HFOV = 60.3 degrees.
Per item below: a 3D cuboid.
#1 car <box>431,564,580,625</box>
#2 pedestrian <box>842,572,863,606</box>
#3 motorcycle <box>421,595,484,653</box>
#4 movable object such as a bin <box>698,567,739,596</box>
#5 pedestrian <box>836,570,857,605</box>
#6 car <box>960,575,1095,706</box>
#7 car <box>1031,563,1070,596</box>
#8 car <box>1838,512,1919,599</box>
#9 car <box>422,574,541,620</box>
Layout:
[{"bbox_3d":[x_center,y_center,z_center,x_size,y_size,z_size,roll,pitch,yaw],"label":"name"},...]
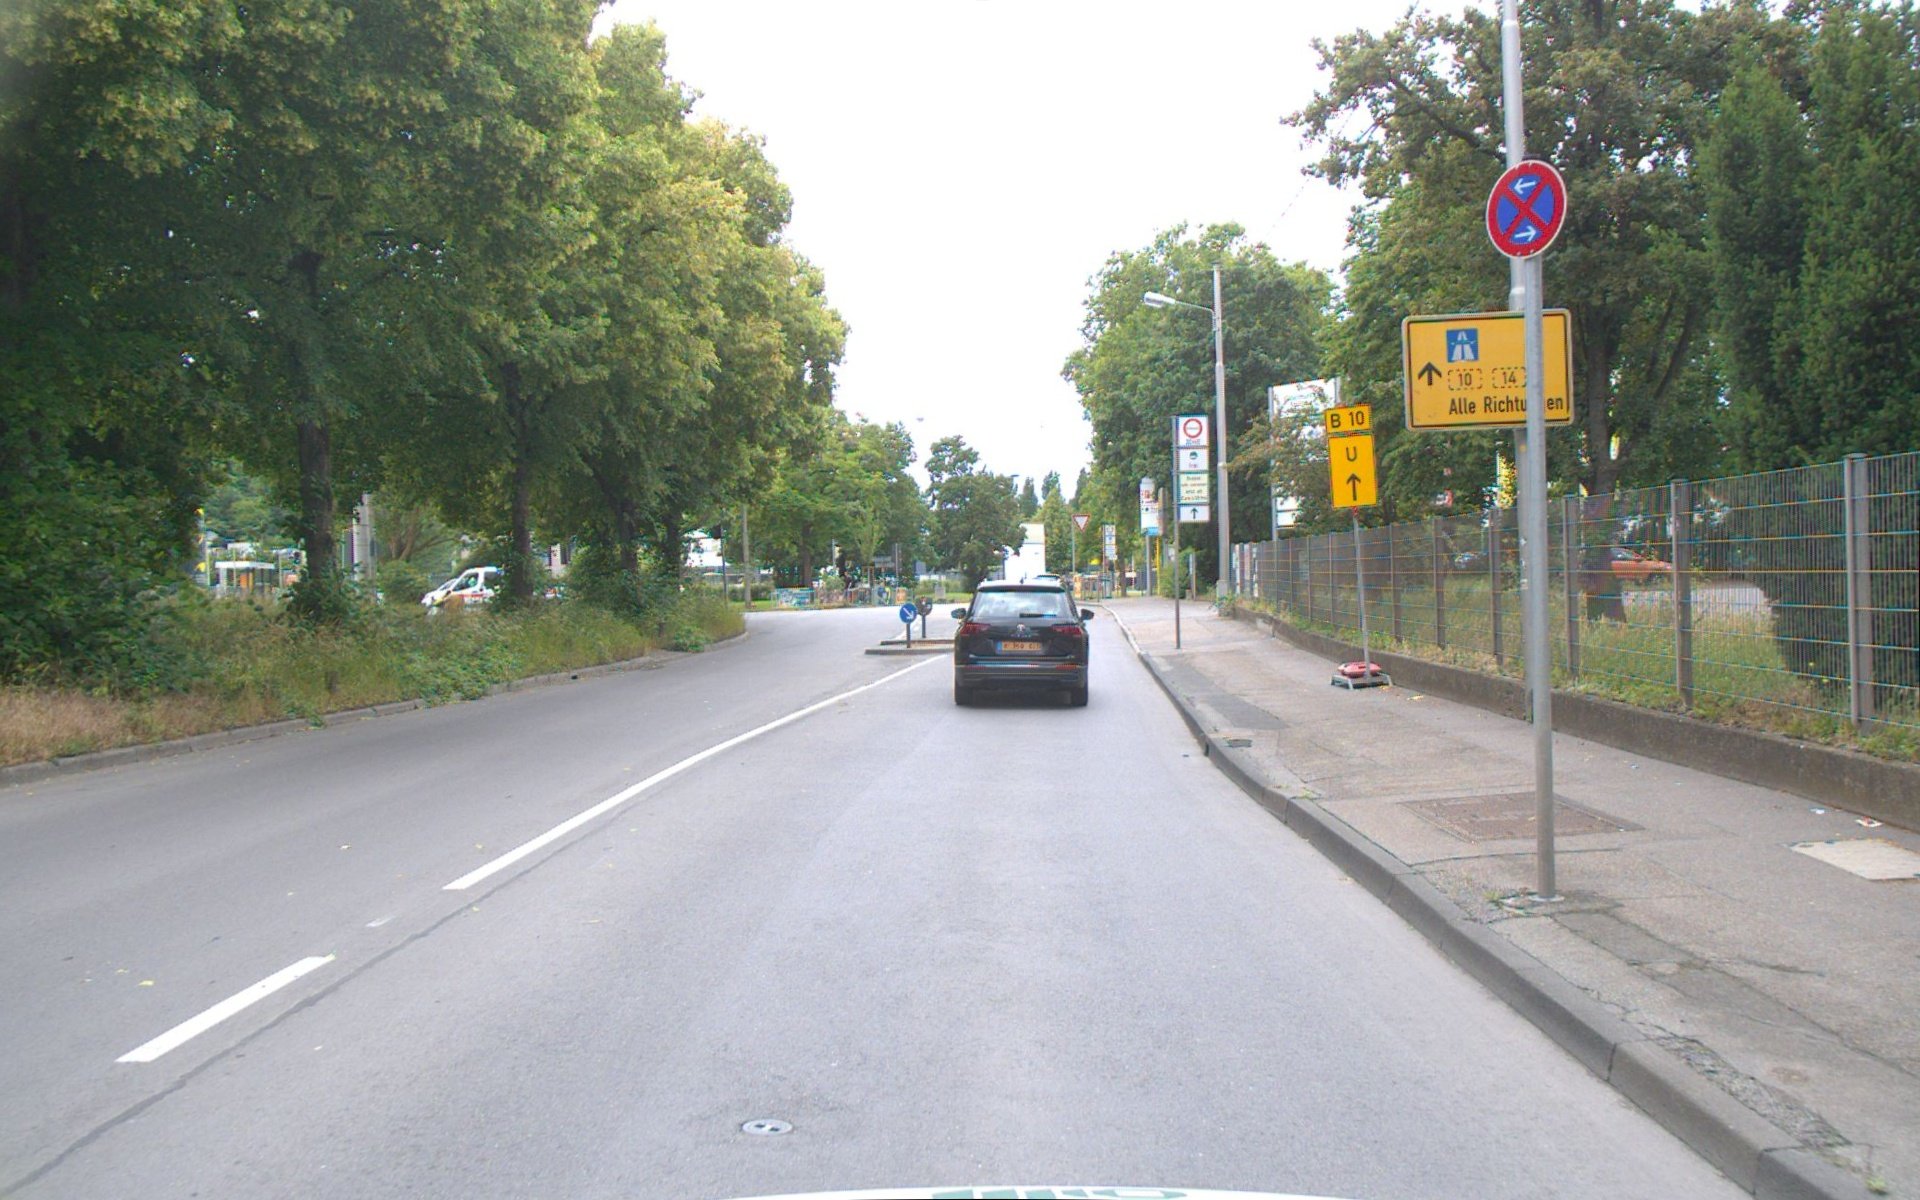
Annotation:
[{"bbox_3d":[-20.192,-0.278,73.722,5.950,2.429,2.393,-2,1,-3],"label":"car"},{"bbox_3d":[-5.700,-0.599,87.672,0.731,1.772,0.723,-1,1,44],"label":"pedestrian"},{"bbox_3d":[-11.376,0.520,37.129,0.553,1.188,2.037,-2,1,7],"label":"motorcycle"},{"bbox_3d":[-17.671,-1.366,120.933,1.954,2.048,2.398,-2,1,24],"label":"movable object such as a bin"},{"bbox_3d":[-5.953,-0.643,86.696,0.731,1.772,0.723,-1,1,44],"label":"pedestrian"},{"bbox_3d":[0.896,0.484,22.777,1.703,1.646,3.642,0,1,1],"label":"car"},{"bbox_3d":[4.659,-1.048,84.958,1.623,1.601,3.832,-3,1,8],"label":"car"},{"bbox_3d":[18.918,-0.880,30.455,4.756,1.561,2.019,-1,1,31],"label":"car"},{"bbox_3d":[-22.400,-0.149,77.519,4.872,1.975,2.050,-2,1,8],"label":"car"}]
